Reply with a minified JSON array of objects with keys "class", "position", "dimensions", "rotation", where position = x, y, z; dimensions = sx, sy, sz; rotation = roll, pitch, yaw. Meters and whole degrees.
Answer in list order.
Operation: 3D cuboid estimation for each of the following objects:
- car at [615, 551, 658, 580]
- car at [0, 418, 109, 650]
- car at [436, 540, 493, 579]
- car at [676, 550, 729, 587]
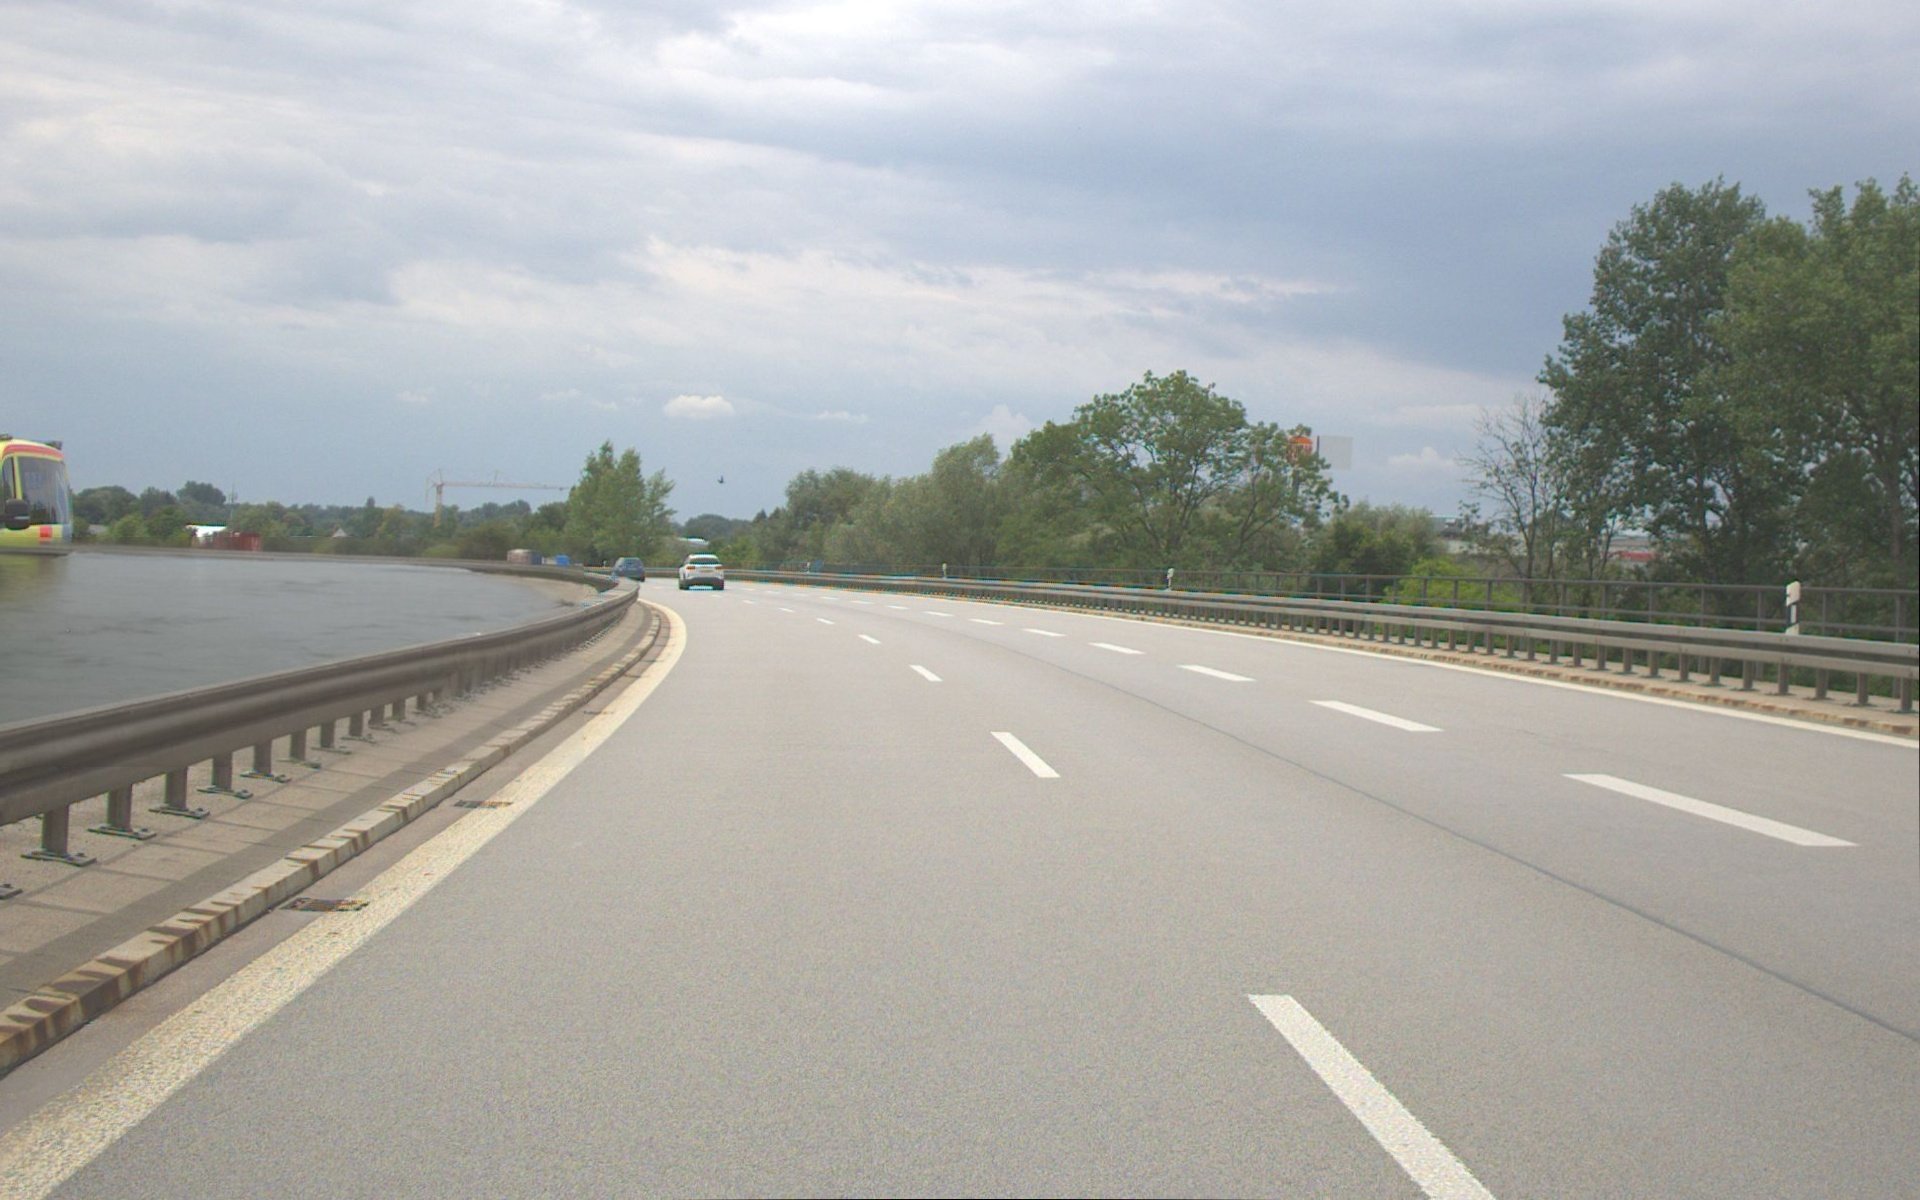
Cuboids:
[{"class":"car","position":[-19.442,-2.064,206.652],"dimensions":[1.892,1.634,4.623],"rotation":[2,1,-13]},{"class":"car","position":[-10.637,-0.704,36.430],"dimensions":[1.993,2.285,6.399],"rotation":[2,1,-4]},{"class":"car","position":[-18.435,-1.513,128.006],"dimensions":[1.772,1.382,4.388],"rotation":[2,0,-5]},{"class":"car","position":[-12.095,-1.486,161.167],"dimensions":[1.902,1.634,4.397],"rotation":[2,0,-11]}]
